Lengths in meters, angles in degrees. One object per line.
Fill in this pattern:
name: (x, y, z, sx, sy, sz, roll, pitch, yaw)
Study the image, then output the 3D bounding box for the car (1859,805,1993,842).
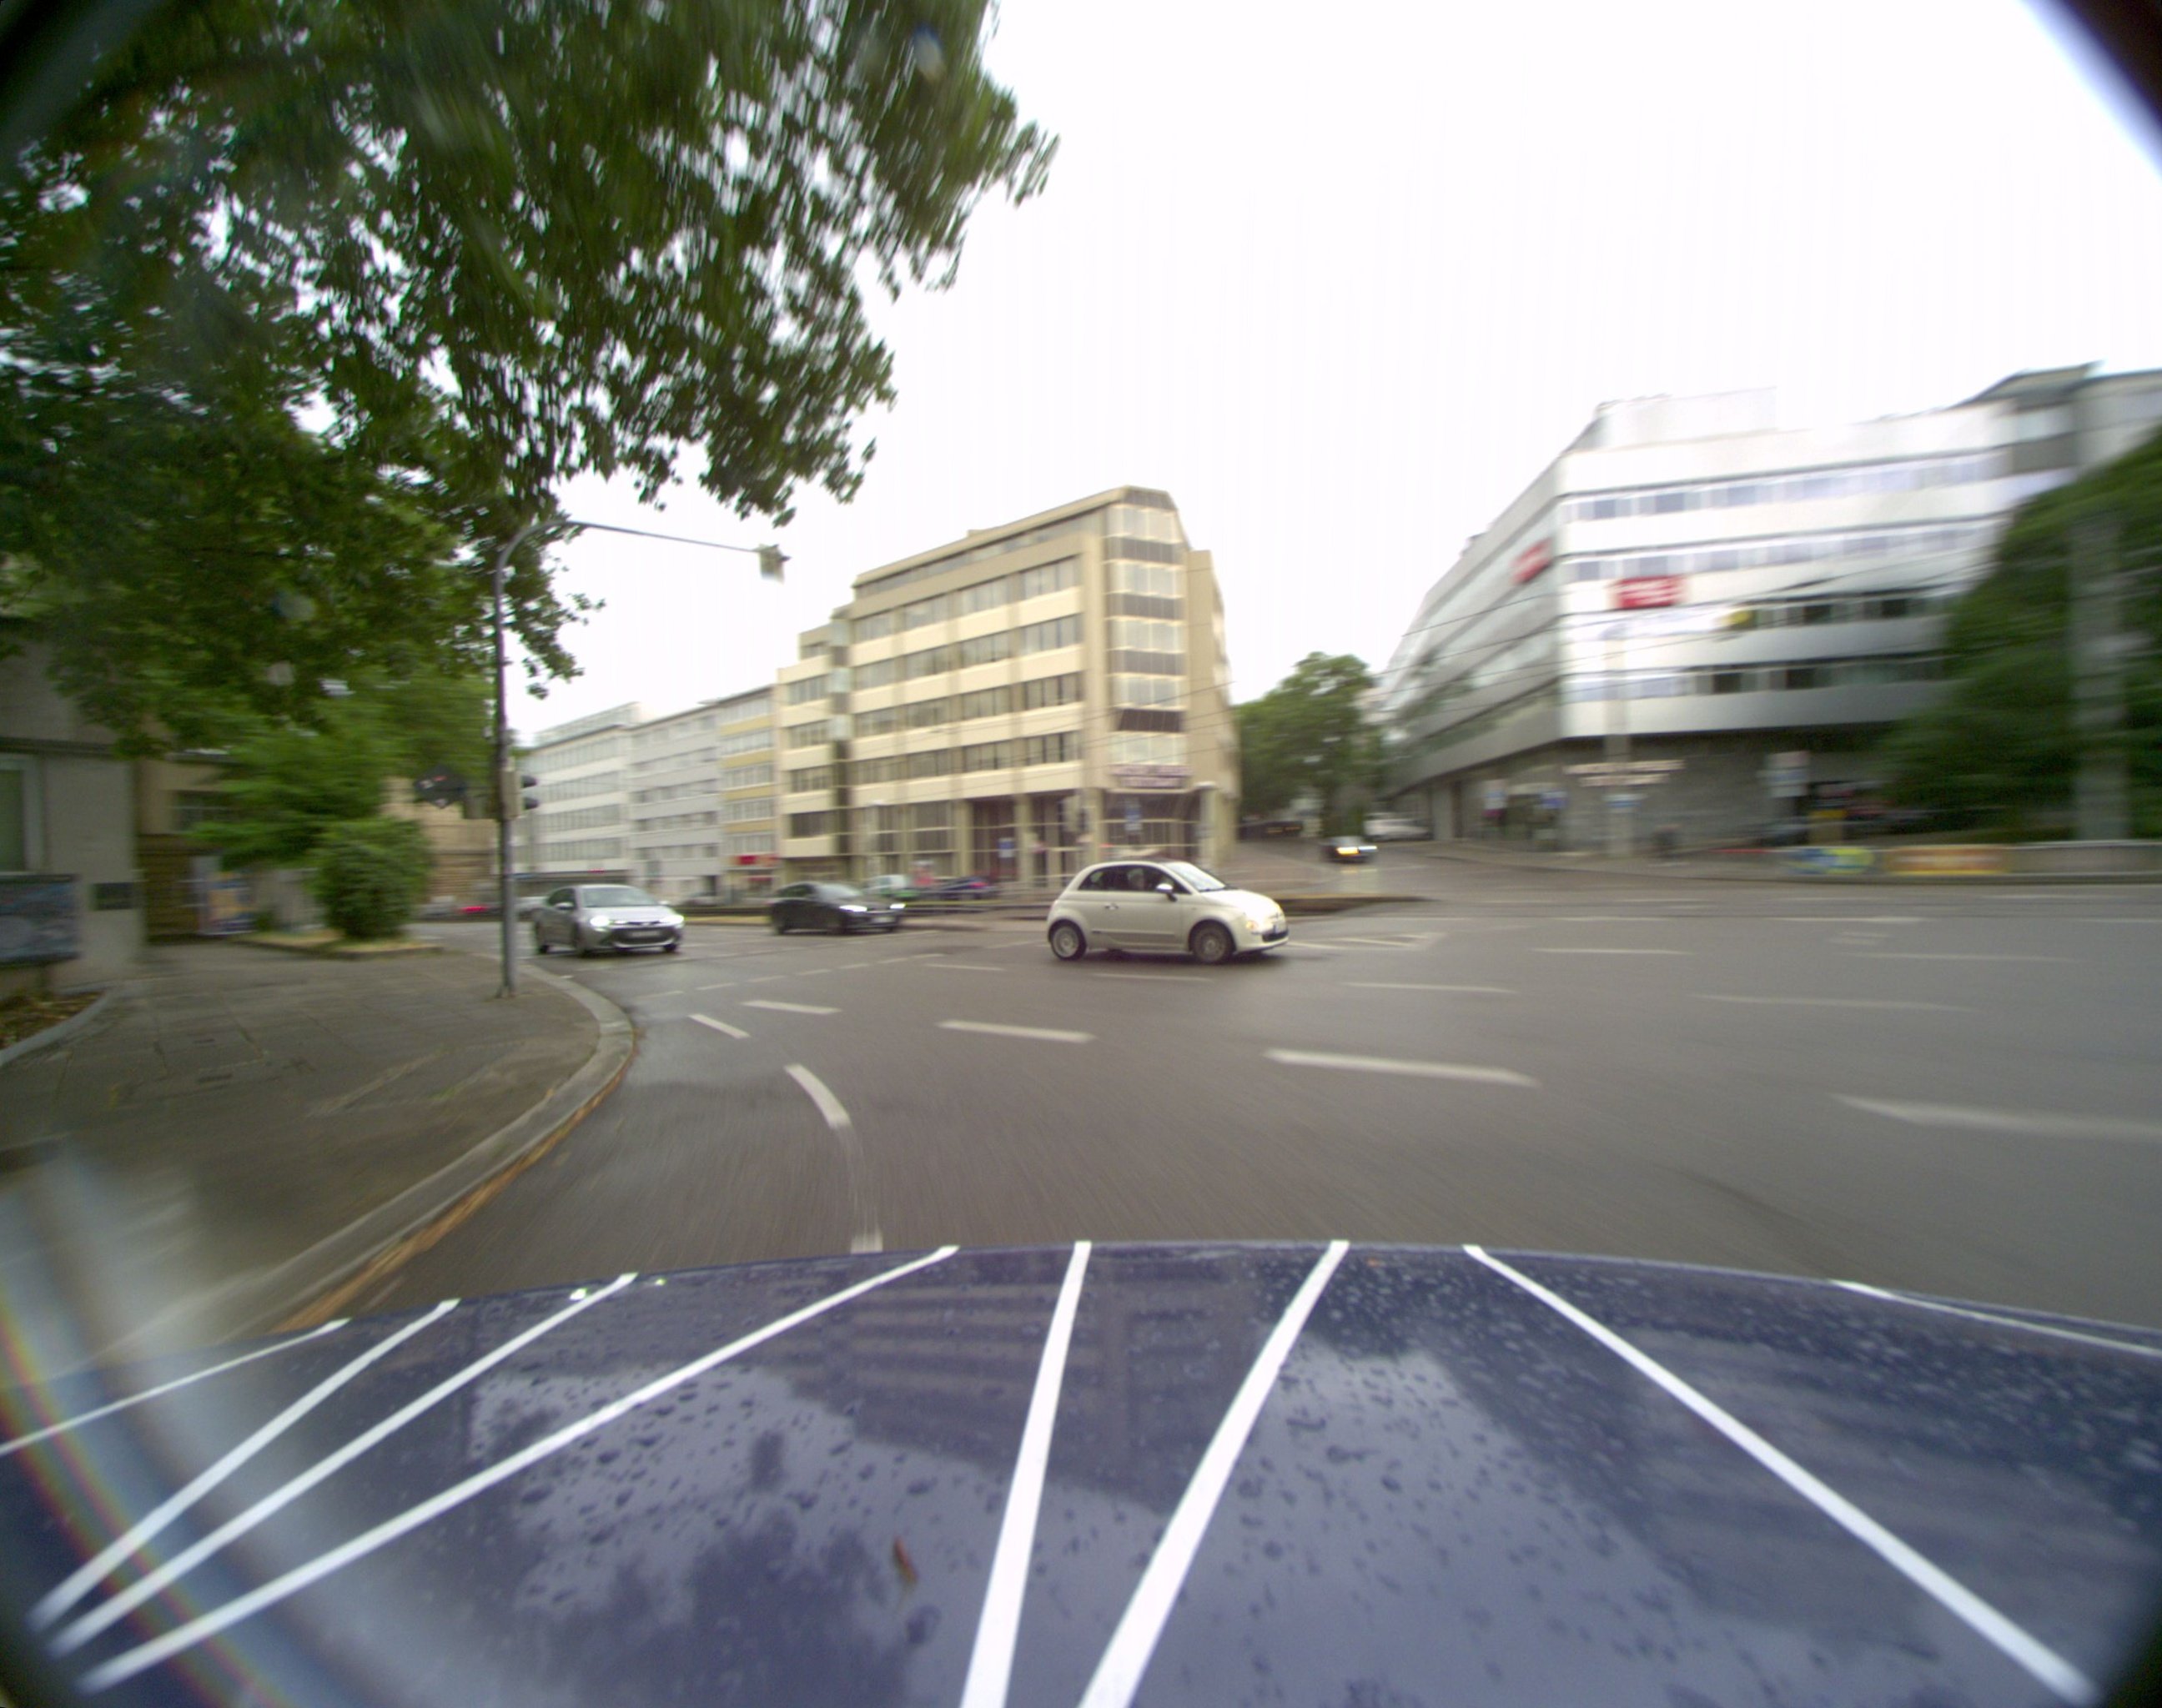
car: (39.893, -1.421, 35.947, 3.995, 1.422, 1.879, -3, 0, 5)

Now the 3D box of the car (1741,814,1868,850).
car: (34.630, -1.012, 36.453, 4.089, 1.422, 1.879, -3, 0, 5)

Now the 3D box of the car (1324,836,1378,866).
car: (17.120, -0.239, 48.426, 1.998, 1.572, 4.886, -3, 3, 5)

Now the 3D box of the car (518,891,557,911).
car: (-56.950, 4.965, 79.585, 4.466, 1.924, 1.894, -3, 0, 35)

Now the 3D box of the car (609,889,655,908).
car: (-38.995, 3.866, 65.977, 4.067, 1.505, 1.894, -3, 0, 35)

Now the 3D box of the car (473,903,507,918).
car: (-59.981, 5.716, 77.137, 3.861, 1.349, 1.636, -3, 0, 35)

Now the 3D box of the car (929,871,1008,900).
car: (-6.243, 1.750, 41.872, 4.206, 1.468, 1.805, -3, -2, 36)

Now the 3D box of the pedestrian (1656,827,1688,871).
pedestrian: (25.597, -0.226, 32.932, 0.719, 1.850, 0.849, -3, 1, 8)

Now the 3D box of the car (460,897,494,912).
car: (-72.355, 6.094, 90.986, 4.466, 1.615, 1.894, -3, 0, 35)

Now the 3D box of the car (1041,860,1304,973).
car: (1.299, 0.877, 11.235, 3.431, 1.426, 1.659, -3, -2, 34)

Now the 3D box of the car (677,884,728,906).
car: (-29.562, 3.202, 59.307, 4.067, 1.505, 1.805, -3, 0, 35)

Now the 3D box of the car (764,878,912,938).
car: (-6.646, 1.426, 20.528, 4.463, 1.433, 1.805, -3, -3, 43)

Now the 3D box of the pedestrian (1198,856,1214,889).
pedestrian: (6.387, 0.931, 38.816, 0.719, 1.629, 0.760, -3, 1, 8)

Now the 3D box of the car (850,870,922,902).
car: (-11.851, 1.969, 46.070, 4.206, 1.736, 1.805, -3, 0, 34)

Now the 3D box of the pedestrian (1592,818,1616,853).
pedestrian: (28.202, -0.991, 40.980, 0.759, 1.850, 0.720, -5, 1, 11)

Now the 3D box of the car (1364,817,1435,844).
car: (27.784, -1.997, 66.487, 5.404, 2.001, 2.003, -2, -2, 13)

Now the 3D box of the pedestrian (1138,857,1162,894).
pedestrian: (3.498, 1.078, 38.305, 0.761, 1.776, 0.829, -4, 1, -37)

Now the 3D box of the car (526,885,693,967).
car: (-9.830, 1.408, 15.692, 4.286, 1.426, 1.817, -3, -2, 42)
